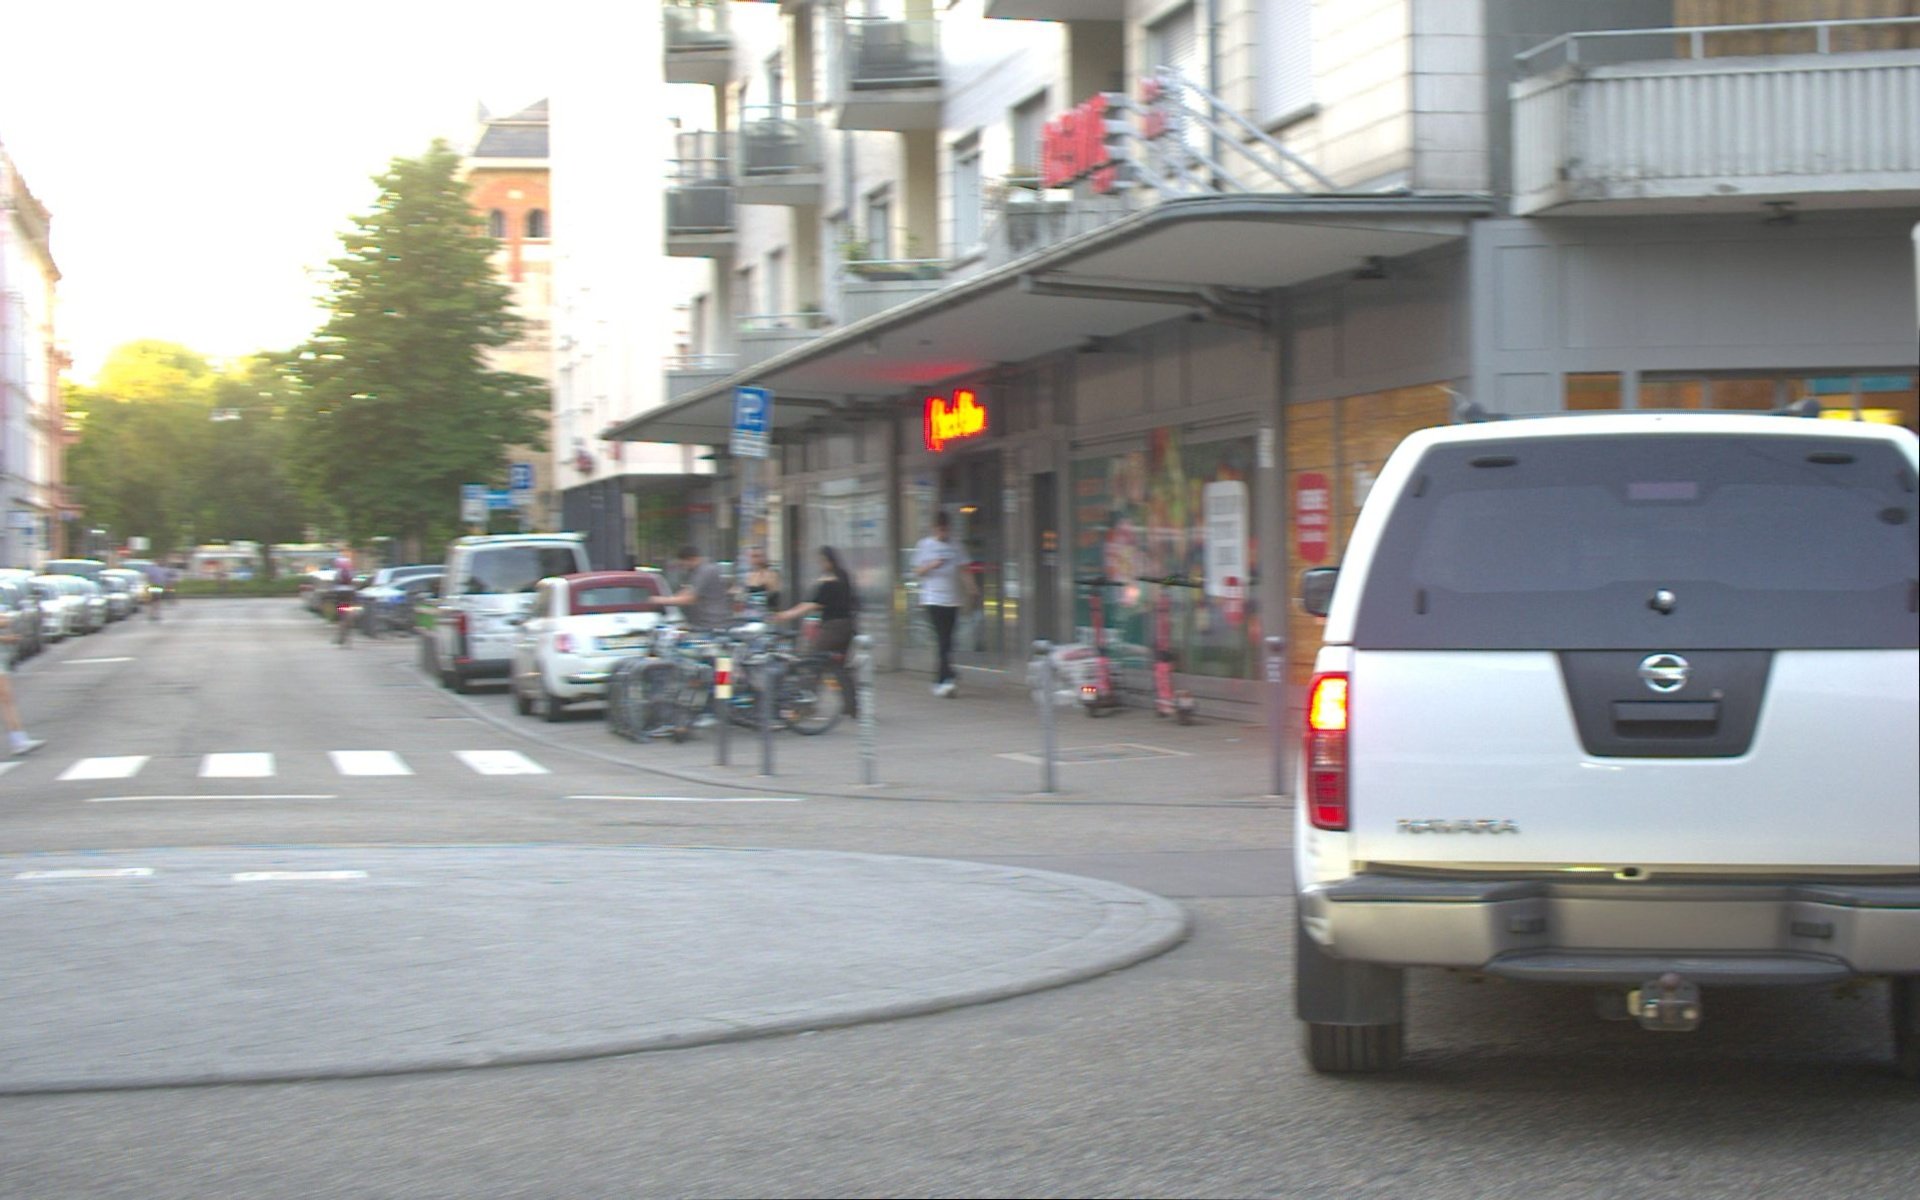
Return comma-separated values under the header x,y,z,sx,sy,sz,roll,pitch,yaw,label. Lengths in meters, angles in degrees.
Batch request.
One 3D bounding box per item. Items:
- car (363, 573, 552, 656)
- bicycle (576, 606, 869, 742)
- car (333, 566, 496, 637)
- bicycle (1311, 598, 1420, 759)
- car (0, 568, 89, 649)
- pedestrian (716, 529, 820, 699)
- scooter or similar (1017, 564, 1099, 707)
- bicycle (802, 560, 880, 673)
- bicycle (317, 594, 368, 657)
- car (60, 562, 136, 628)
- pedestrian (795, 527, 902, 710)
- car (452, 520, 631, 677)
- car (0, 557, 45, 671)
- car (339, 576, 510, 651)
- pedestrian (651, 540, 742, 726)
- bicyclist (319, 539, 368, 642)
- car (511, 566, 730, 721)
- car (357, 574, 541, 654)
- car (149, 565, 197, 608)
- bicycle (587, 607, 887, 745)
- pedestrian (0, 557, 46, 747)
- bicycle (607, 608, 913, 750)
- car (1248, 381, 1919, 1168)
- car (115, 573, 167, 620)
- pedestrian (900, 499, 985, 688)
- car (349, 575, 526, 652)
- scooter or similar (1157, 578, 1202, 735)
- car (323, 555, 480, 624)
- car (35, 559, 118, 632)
x,y,z,sx,sy,sz,roll,pitch,yaw,label
-11.105,0.320,75.862,3.986,1.744,1.841,1,0,-12,car
-2.099,0.643,30.377,2.460,1.035,0.617,-3,1,-16,bicycle
-13.928,0.043,87.729,3.986,1.744,1.841,1,0,-12,car
2.837,0.541,24.089,0.289,1.109,0.966,1,0,-24,bicycle
-20.357,0.184,76.281,1.834,1.744,4.001,1,0,-12,car
-1.895,0.140,33.936,0.720,1.658,0.702,1,-1,-44,pedestrian
0.905,0.326,31.944,0.439,1.286,1.668,1,0,-9,scooter or similar
-1.525,0.210,43.836,0.555,1.403,2.096,1,0,-14,bicycle
-11.827,0.481,65.836,0.838,1.167,1.936,1,0,-13,bicycle
-23.340,-0.130,93.160,1.834,1.744,4.001,1,0,-12,car
-1.026,0.172,31.665,0.720,1.658,0.702,1,0,-30,pedestrian
-5.529,-0.014,45.013,1.942,1.927,4.001,1,0,-12,car
-15.656,0.201,54.807,1.834,1.744,4.164,1,0,-12,car
-13.007,0.318,83.449,3.986,1.744,1.841,1,0,-12,car
-2.397,0.298,31.256,0.719,1.658,0.703,1,0,-11,pedestrian
-11.772,-0.181,65.644,0.838,1.937,0.785,1,0,-13,bicyclist
-3.655,0.441,36.431,1.834,1.536,4.001,1,0,-12,car
-11.608,0.320,78.044,3.986,1.744,1.841,1,0,-12,car
-32.610,-0.556,142.536,1.834,1.744,4.001,1,0,-12,car
-1.927,0.644,29.728,2.460,1.035,0.617,-3,1,-16,bicycle
-8.353,0.443,29.764,0.797,1.615,0.945,1,0,-14,pedestrian
-1.690,0.653,29.082,2.460,1.035,0.617,-3,1,-16,bicycle
2.077,0.327,10.430,1.939,1.804,4.999,1,2,10,car
-31.453,-0.120,132.072,1.834,1.744,4.001,1,0,-12,car
-0.182,-0.061,35.015,0.719,1.900,0.703,1,0,-11,pedestrian
-12.263,0.319,80.627,3.986,1.744,1.841,1,0,-12,car
1.790,0.451,28.109,0.219,1.233,0.966,1,2,-4,scooter or similar
-14.730,-0.265,90.592,3.986,1.744,1.841,1,0,-12,car
-21.942,-0.102,85.472,1.834,1.744,4.001,1,0,-12,car
